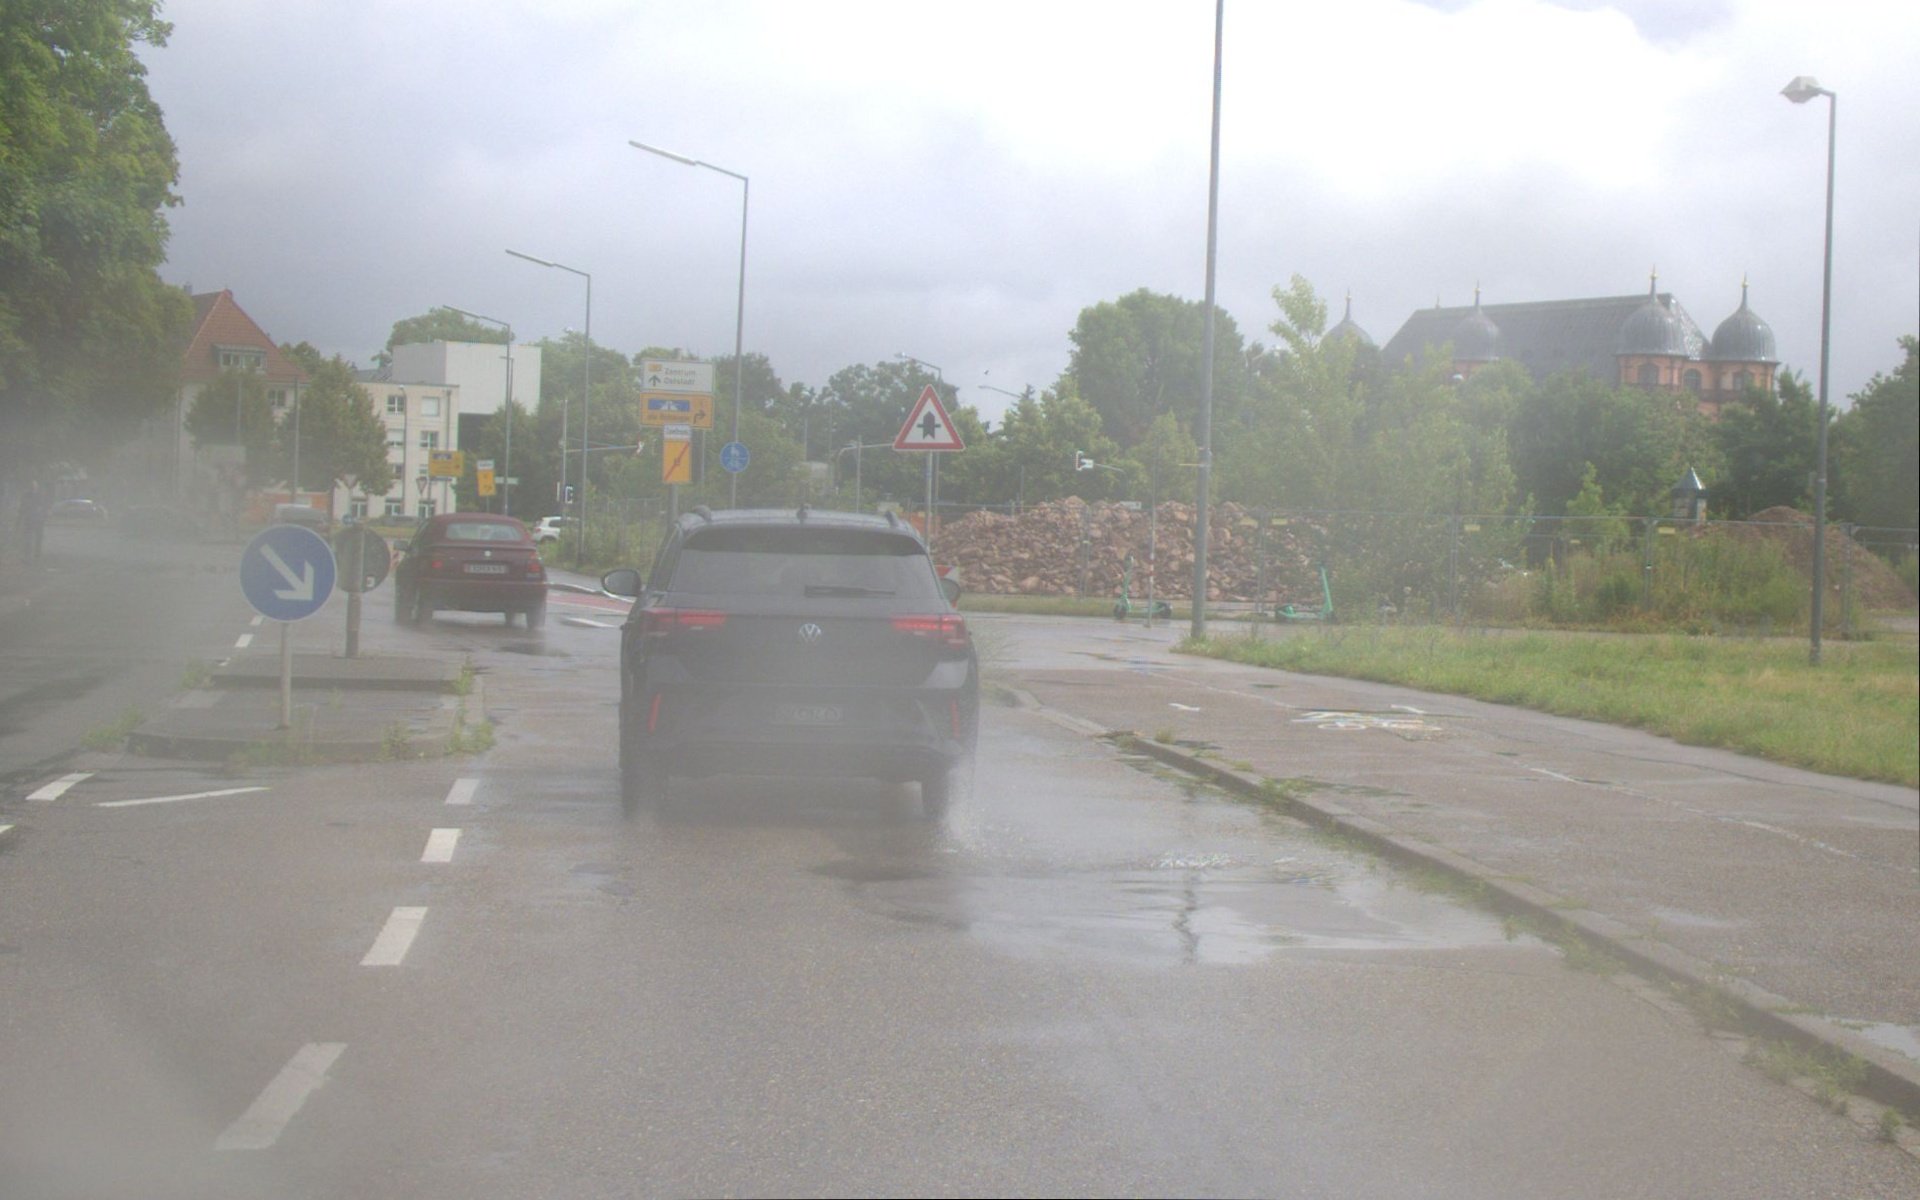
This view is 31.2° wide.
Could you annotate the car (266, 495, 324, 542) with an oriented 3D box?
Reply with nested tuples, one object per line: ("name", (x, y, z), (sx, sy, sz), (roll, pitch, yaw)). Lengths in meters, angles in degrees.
("car", (-25.195, -3.097, 130.148), (1.995, 1.697, 4.017), (2, 1, -13))

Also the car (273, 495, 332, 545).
("car", (-22.654, -2.771, 118.435), (1.840, 1.635, 4.017), (2, 1, -13))

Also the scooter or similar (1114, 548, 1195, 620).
("scooter or similar", (3.501, -0.292, 61.920), (1.282, 1.183, 0.502), (6, 3, 29))

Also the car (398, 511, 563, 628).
("car", (-6.259, -0.396, 44.567), (1.841, 1.437, 4.001), (-1, 0, -12))

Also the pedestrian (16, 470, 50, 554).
("pedestrian", (-19.238, -1.833, 71.347), (0.524, 1.695, 0.566), (4, 2, -12))

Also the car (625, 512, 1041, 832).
("car", (-0.796, 0.300, 18.487), (1.986, 1.515, 4.001), (-1, 1, -6))

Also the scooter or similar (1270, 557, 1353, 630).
("scooter or similar", (6.281, -0.121, 61.407), (1.282, 1.183, 0.502), (6, 3, 29))
